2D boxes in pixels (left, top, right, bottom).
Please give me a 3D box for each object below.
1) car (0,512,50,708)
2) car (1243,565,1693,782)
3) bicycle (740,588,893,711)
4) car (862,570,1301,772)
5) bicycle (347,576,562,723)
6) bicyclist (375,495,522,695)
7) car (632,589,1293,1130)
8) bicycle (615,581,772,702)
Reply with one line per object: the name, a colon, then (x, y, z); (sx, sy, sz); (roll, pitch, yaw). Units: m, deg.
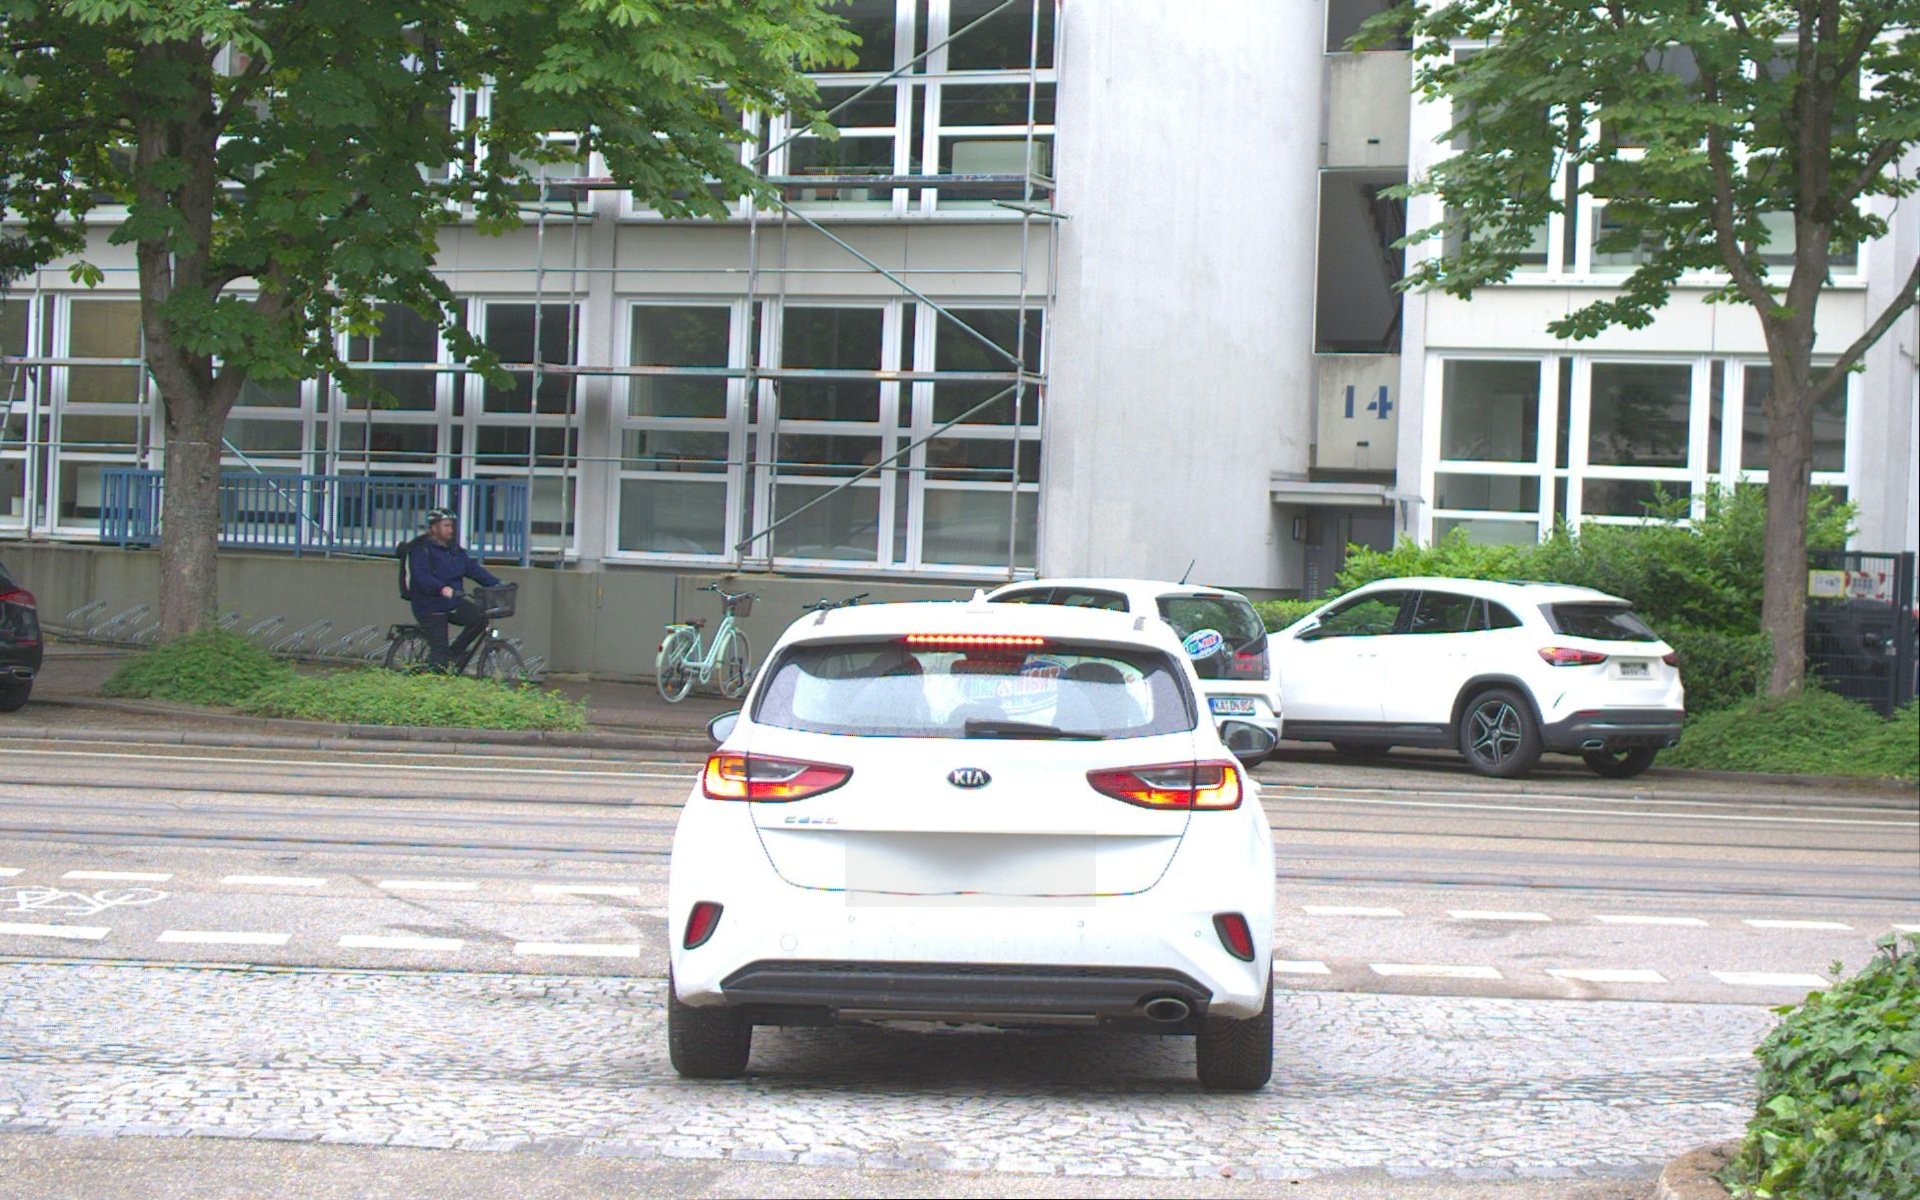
car: (-8.864, 0.024, 27.288); (3.335, 1.506, 1.615); (2, 1, 43)
car: (4.157, 0.570, 28.438); (1.552, 1.612, 3.406); (1, 1, -44)
bicycle: (-1.390, 0.466, 33.783); (0.645, 1.071, 2.310); (3, 3, 20)
car: (0.944, 0.546, 27.976); (1.552, 1.468, 3.406); (1, 1, -44)
bicycle: (-4.411, 0.422, 29.914); (1.914, 1.170, 0.819); (3, 1, 44)
bicyclist: (-4.459, -0.046, 29.981); (0.896, 1.692, 0.832); (3, 1, 45)
car: (0.093, 0.762, 11.408); (1.775, 1.428, 3.978); (1, -2, 3)
bicycle: (-2.634, 0.396, 34.262); (0.645, 1.071, 2.310); (3, 3, 20)
